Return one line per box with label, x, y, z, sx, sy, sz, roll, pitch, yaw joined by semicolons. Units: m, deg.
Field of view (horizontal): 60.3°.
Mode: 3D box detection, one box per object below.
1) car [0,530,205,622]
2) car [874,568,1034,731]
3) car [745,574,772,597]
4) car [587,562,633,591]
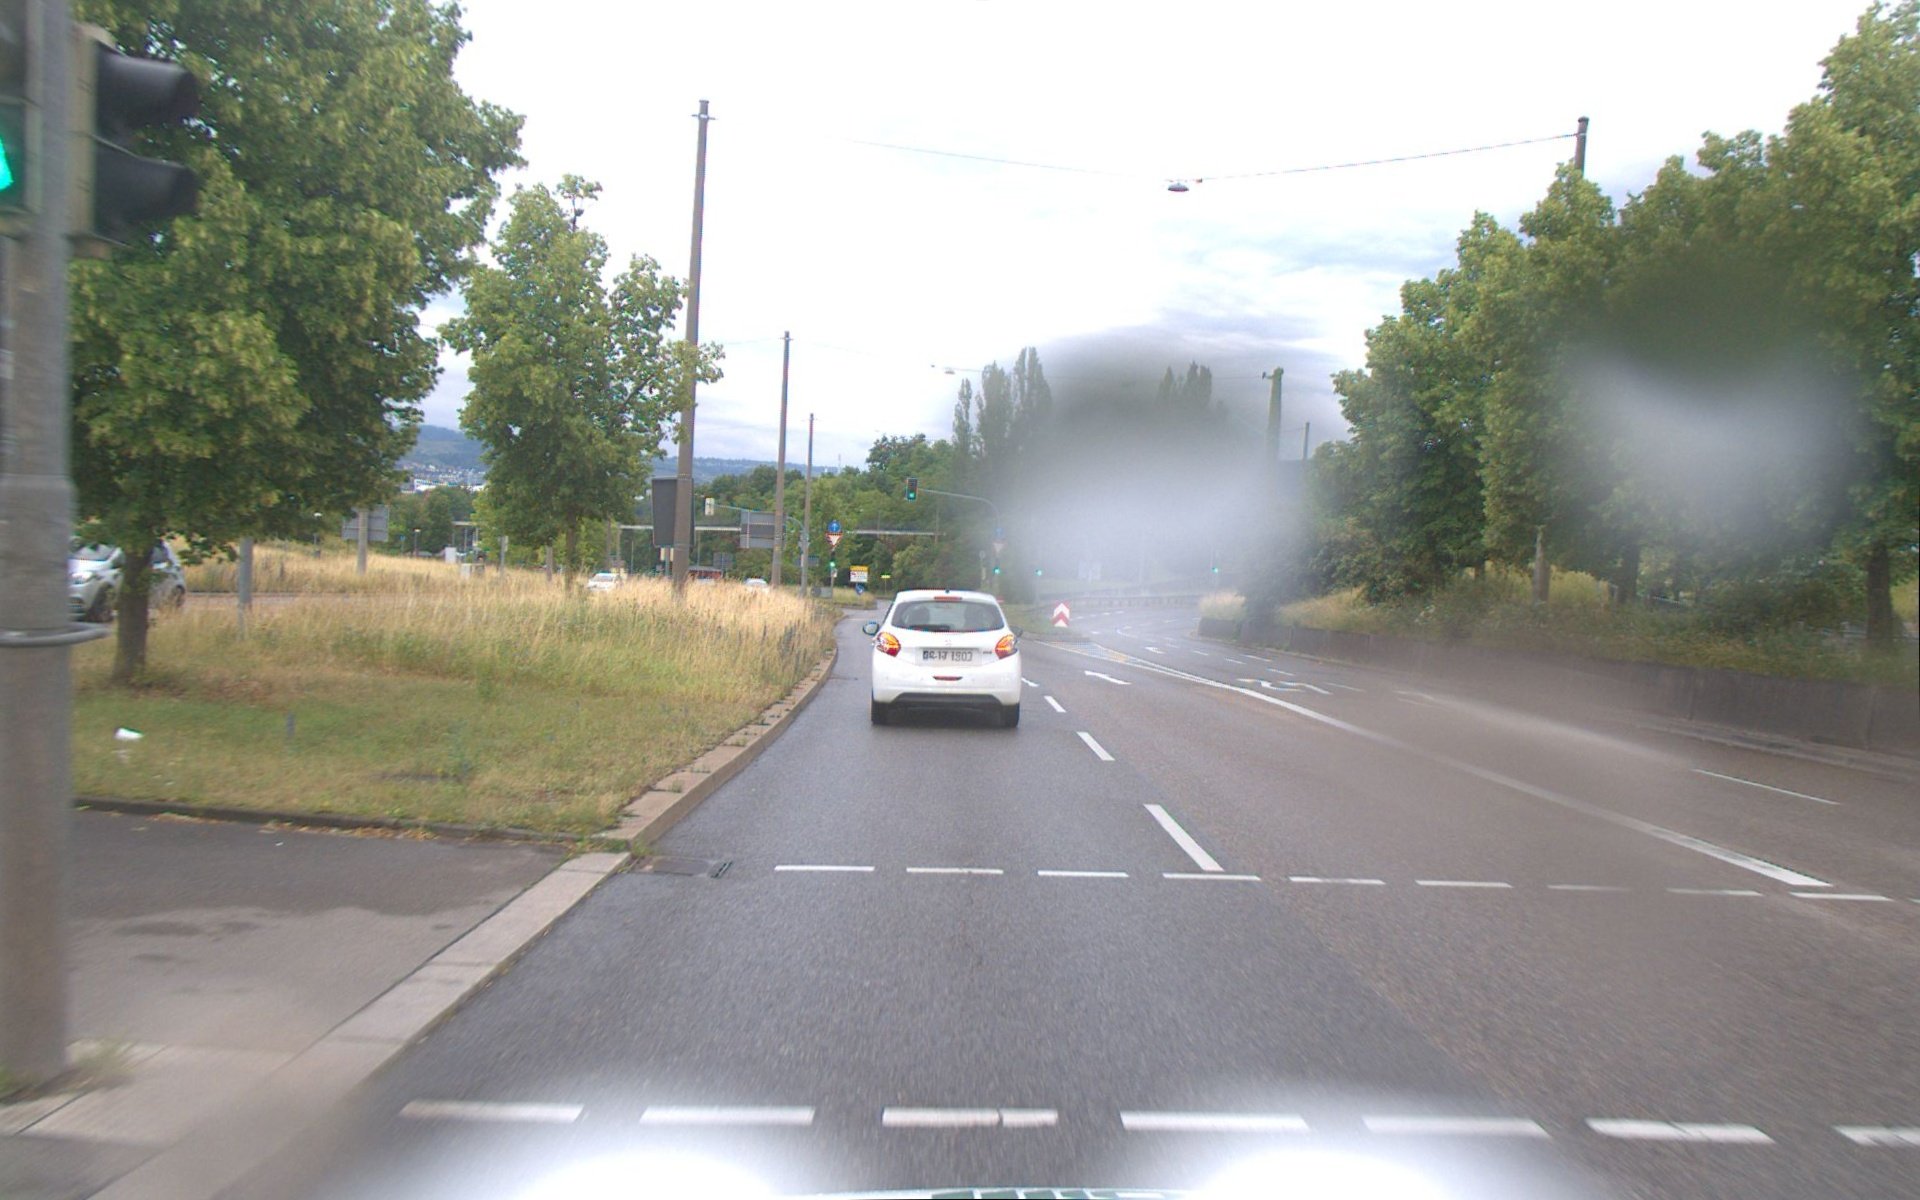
car;-14.748;-0.397;28.533;1.507;1.413;3.928;3;0;2
car;-0.102;0.495;19.354;1.674;1.464;3.692;1;5;-1
car;-13.461;-0.945;110.765;1.704;1.397;3.994;3;-1;-6
car;-22.167;-1.497;104.887;1.847;1.639;4.675;3;-1;0
